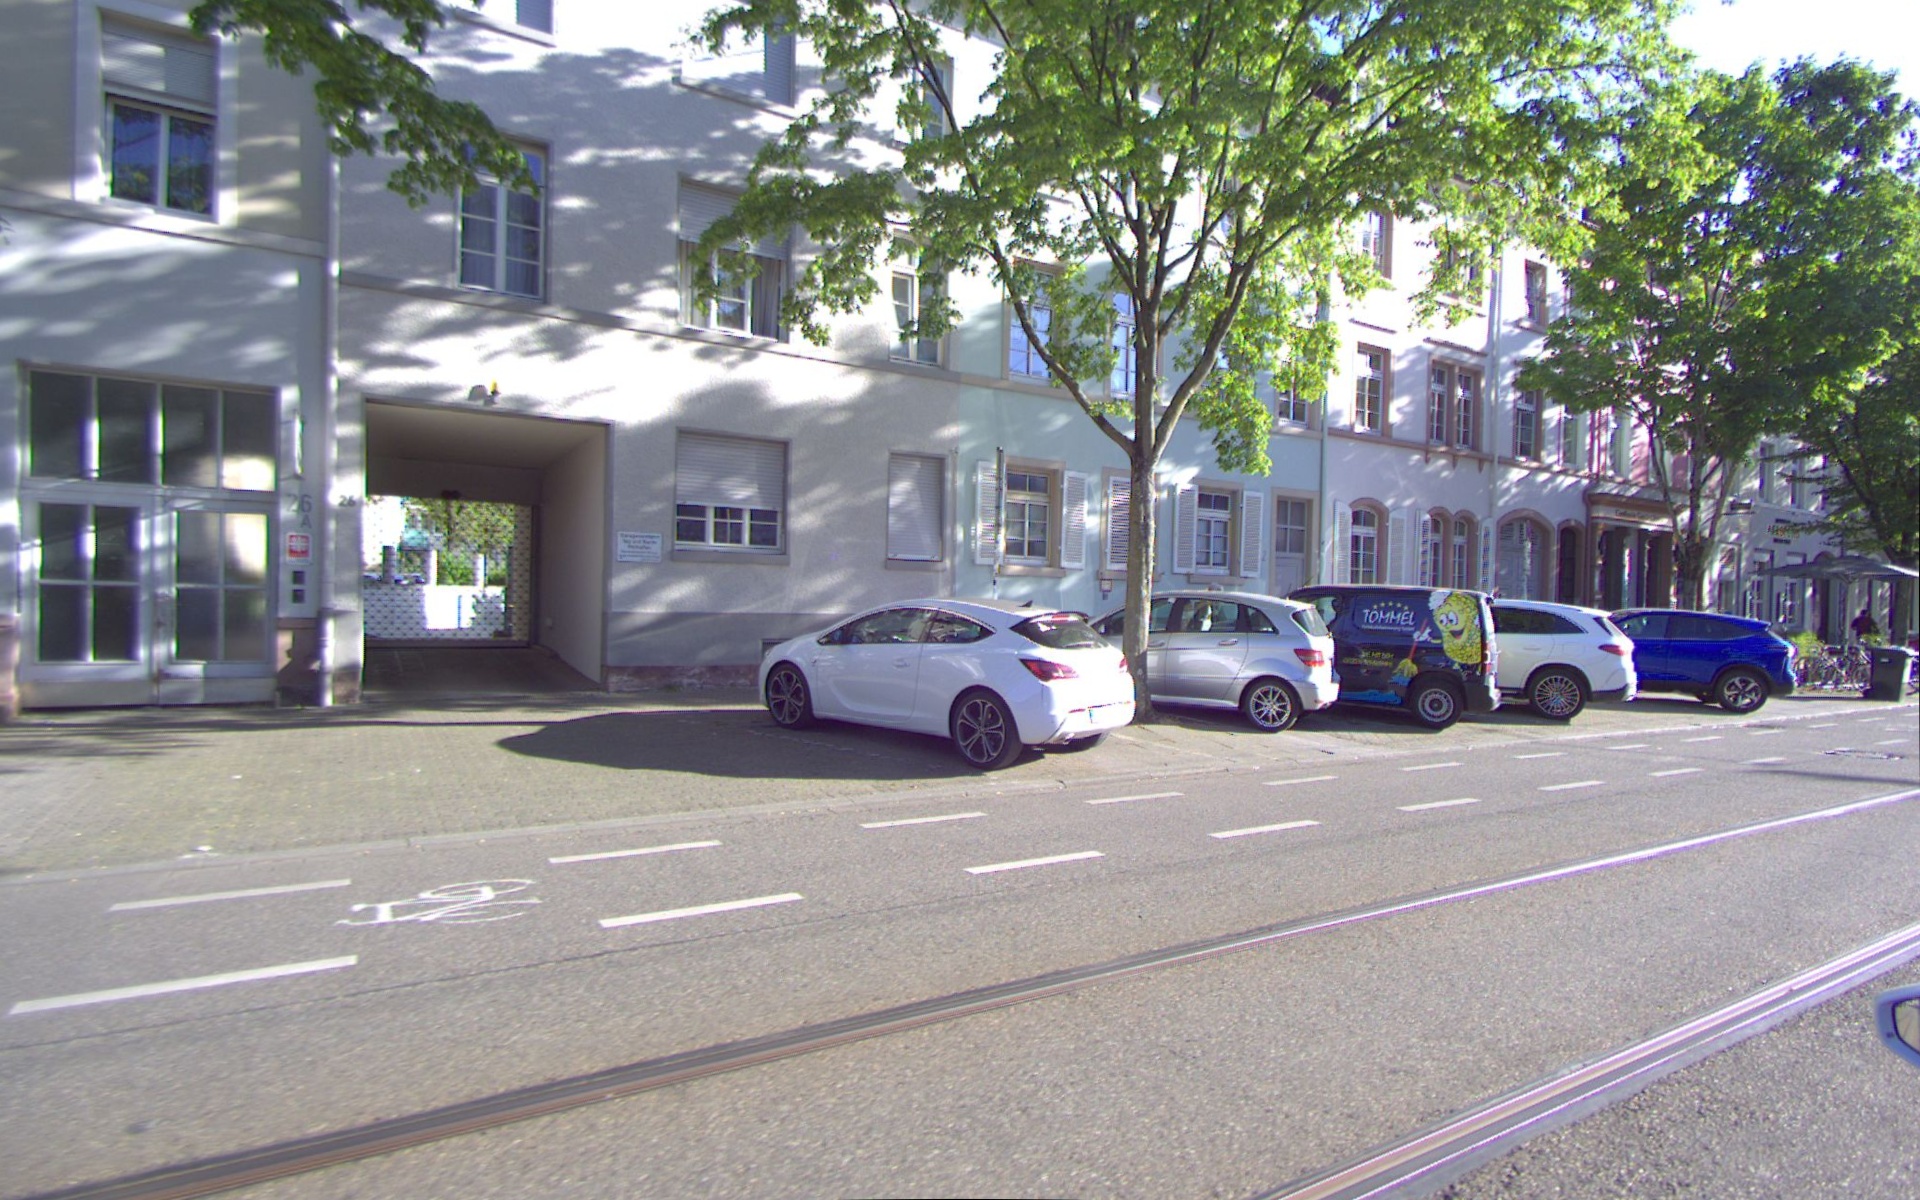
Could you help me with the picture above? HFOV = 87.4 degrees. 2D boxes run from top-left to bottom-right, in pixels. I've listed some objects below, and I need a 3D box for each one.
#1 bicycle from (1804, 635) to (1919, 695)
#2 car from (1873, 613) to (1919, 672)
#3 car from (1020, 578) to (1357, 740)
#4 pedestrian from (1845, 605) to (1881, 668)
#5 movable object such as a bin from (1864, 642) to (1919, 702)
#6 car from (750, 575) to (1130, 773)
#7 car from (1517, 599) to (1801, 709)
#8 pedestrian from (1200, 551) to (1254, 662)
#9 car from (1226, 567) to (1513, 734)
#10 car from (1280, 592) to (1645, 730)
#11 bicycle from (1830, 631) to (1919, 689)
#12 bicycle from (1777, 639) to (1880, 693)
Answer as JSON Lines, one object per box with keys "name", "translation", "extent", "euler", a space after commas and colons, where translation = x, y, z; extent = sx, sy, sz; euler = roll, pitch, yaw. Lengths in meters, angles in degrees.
{"name": "bicycle", "translation": [19.888, 1.390, 22.051], "extent": [0.561, 1.094, 1.959], "euler": [1, 3, -28]}
{"name": "car", "translation": [28.202, 1.261, 28.161], "extent": [3.563, 1.574, 1.664], "euler": [3, 3, 33]}
{"name": "car", "translation": [2.970, 0.641, 13.229], "extent": [3.928, 1.679, 1.807], "euler": [4, 3, 29]}
{"name": "pedestrian", "translation": [29.971, 1.209, 33.338], "extent": [0.550, 2.040, 0.728], "euler": [1, 0, -30]}
{"name": "movable object such as a bin", "translation": [18.523, 1.405, 19.896], "extent": [0.701, 1.092, 0.680], "euler": [1, 4, -30]}
{"name": "car", "translation": [-0.294, 0.631, 10.548], "extent": [3.592, 1.550, 1.878], "euler": [5, 2, 40]}
{"name": "car", "translation": [12.226, 0.897, 17.874], "extent": [3.827, 1.630, 1.573], "euler": [3, 0, 23]}
{"name": "pedestrian", "translation": [4.621, 0.115, 17.390], "extent": [0.617, 1.862, 0.640], "euler": [1, 0, -30]}
{"name": "car", "translation": [5.658, 0.620, 13.956], "extent": [3.383, 1.867, 1.731], "euler": [5, 1, 28]}
{"name": "car", "translation": [7.838, 0.846, 16.026], "extent": [4.851, 1.818, 2.205], "euler": [1, 0, 29]}
{"name": "bicycle", "translation": [21.049, 1.349, 22.665], "extent": [0.560, 1.102, 1.994], "euler": [1, 4, -28]}
{"name": "bicycle", "translation": [18.400, 1.386, 21.306], "extent": [0.386, 1.001, 1.585], "euler": [0, 2, -41]}
